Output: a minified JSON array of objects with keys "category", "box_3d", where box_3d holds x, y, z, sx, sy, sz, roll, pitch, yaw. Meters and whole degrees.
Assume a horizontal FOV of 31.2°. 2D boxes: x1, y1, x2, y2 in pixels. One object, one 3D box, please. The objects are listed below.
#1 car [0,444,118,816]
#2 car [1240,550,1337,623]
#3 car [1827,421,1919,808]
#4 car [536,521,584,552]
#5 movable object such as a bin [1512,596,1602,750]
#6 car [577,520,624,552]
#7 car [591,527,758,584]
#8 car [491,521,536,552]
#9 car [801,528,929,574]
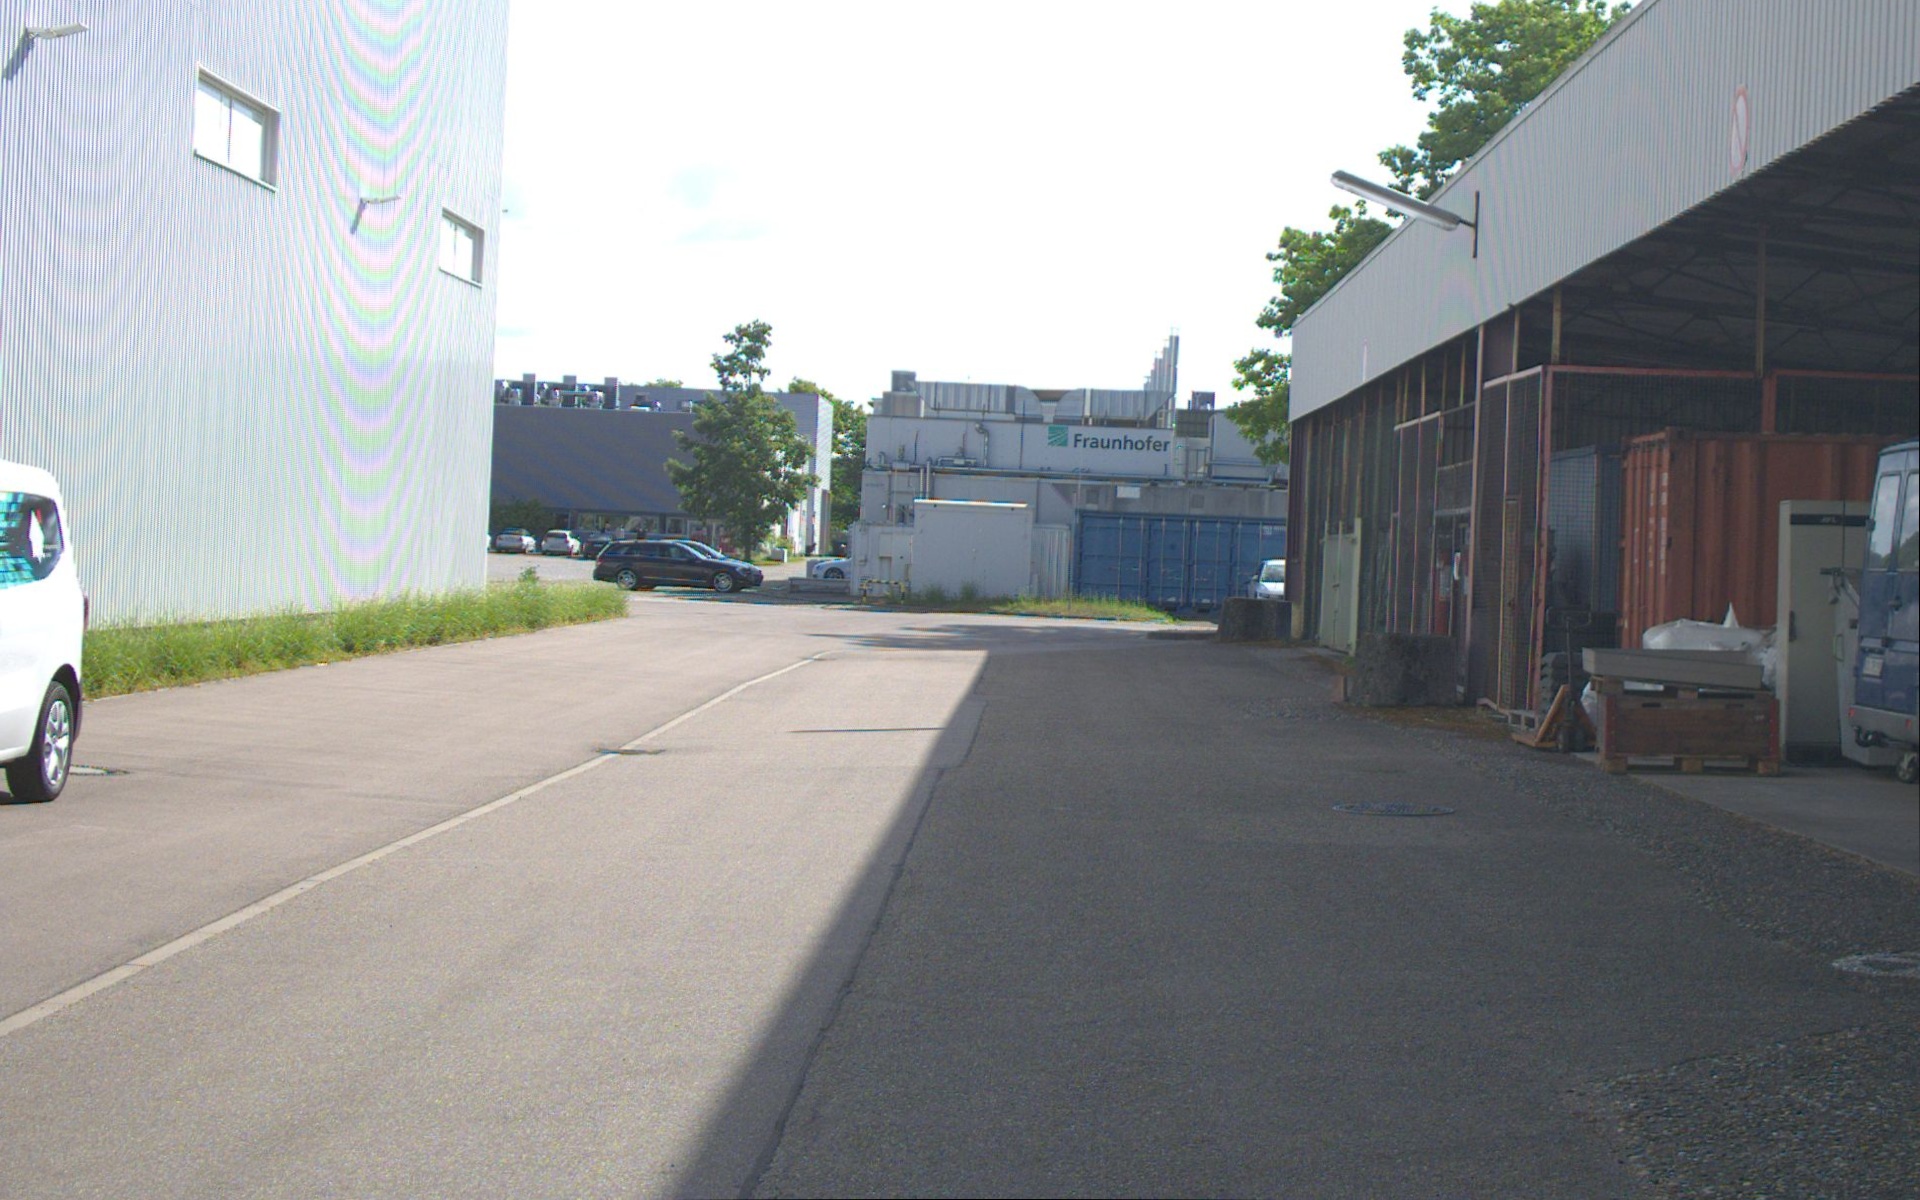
[{"category":"car","box_3d":[-5.644,0.091,16.641,1.890,1.839,4.358,4,1,1]},{"category":"car","box_3d":[8.163,-0.350,85.729,1.993,1.580,4.173,2,2,1]},{"category":"car","box_3d":[8.199,0.157,21.515,4.979,2.317,2.000,2,1,2]},{"category":"car","box_3d":[-22.850,-3.625,196.435,2.193,1.730,4.000,1,1,1]},{"category":"movable object such as a bin","box_3d":[4.731,0.563,27.294,0.582,1.160,1.238,1,1,5]},{"category":"car","box_3d":[-20.328,-3.607,194.658,2.193,1.730,4.000,1,1,1]},{"category":"car","box_3d":[-8.201,-1.278,98.907,4.526,1.503,1.909,2,1,3]},{"category":"car","box_3d":[-25.443,-3.624,196.159,1.993,1.730,4.000,1,1,1]},{"category":"car","box_3d":[-3.474,-1.797,126.387,4.526,1.503,1.909,2,1,2]}]
